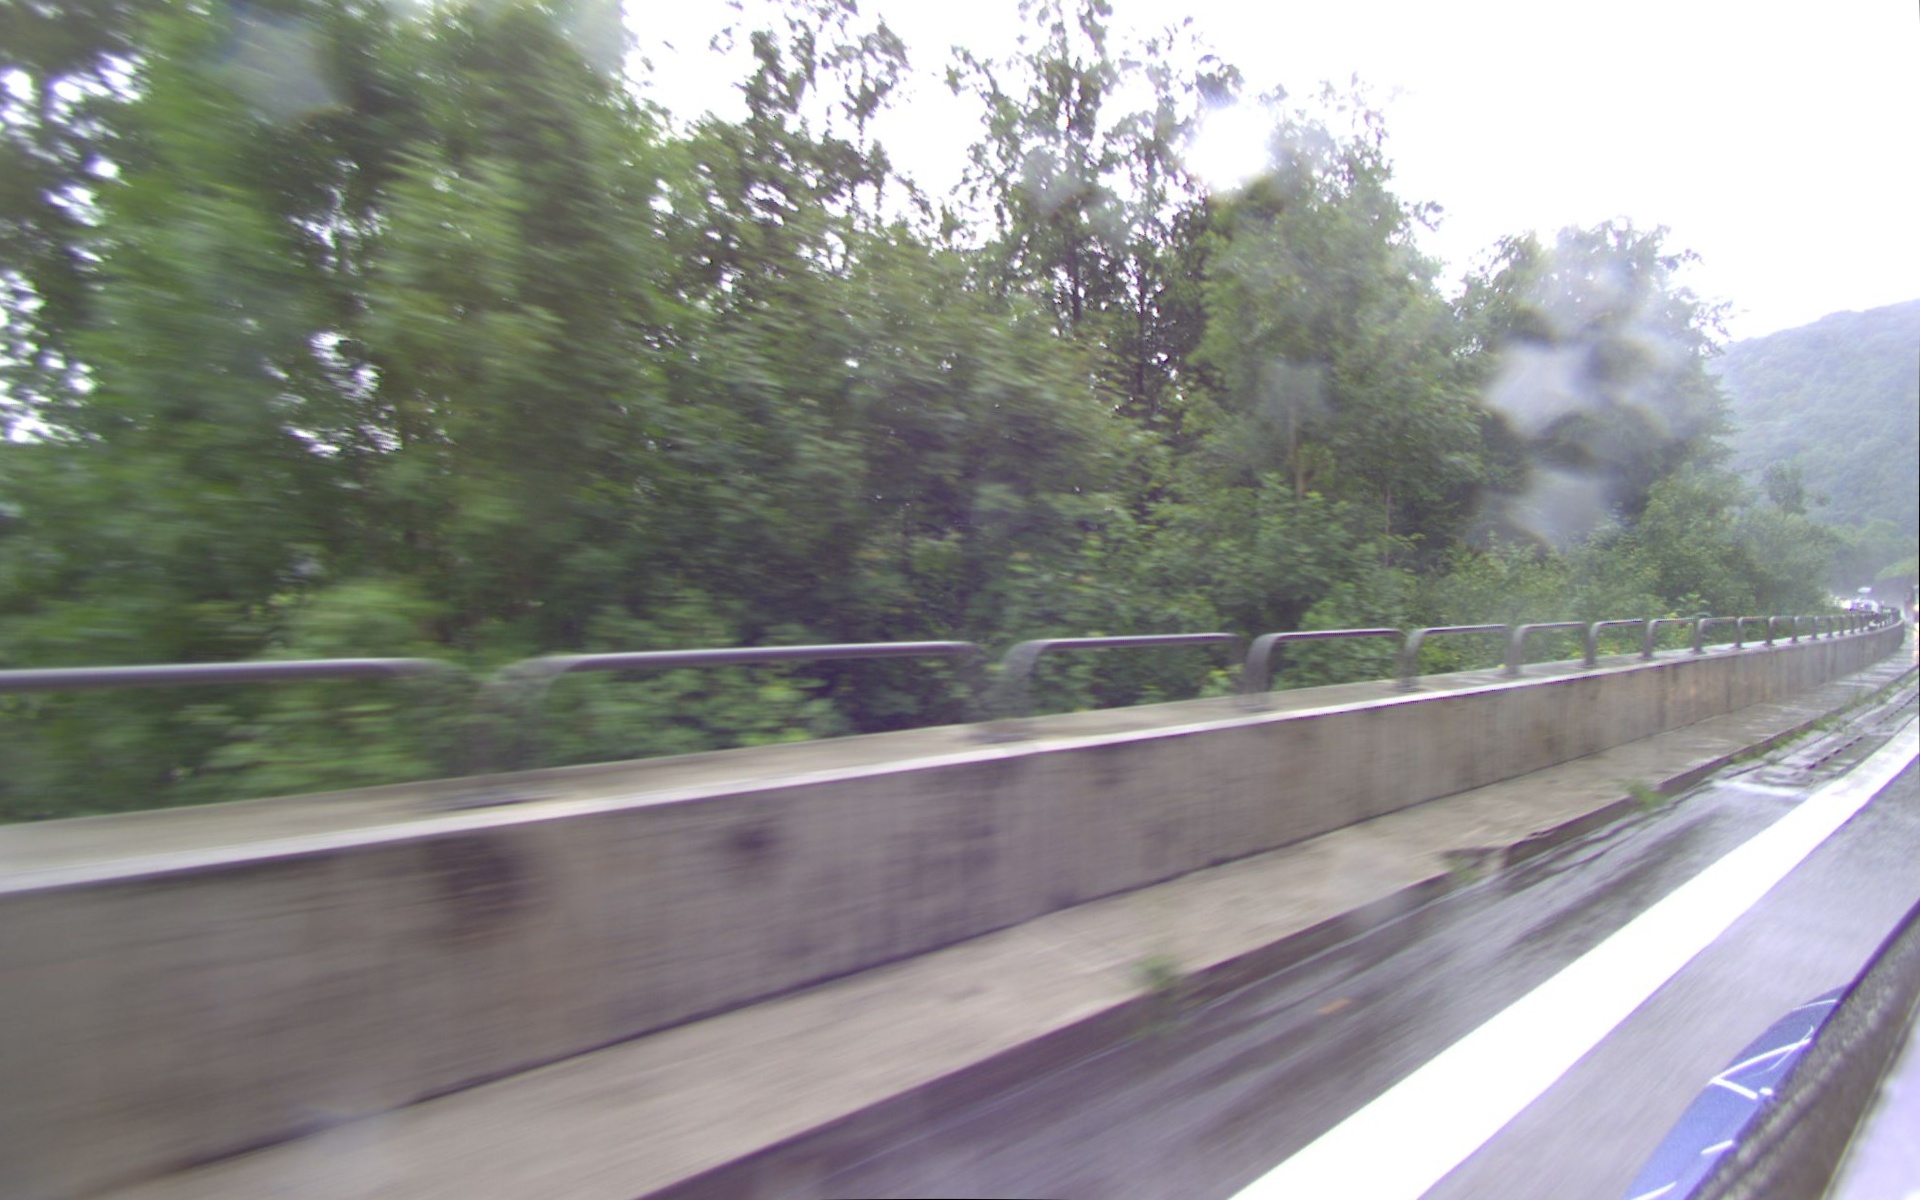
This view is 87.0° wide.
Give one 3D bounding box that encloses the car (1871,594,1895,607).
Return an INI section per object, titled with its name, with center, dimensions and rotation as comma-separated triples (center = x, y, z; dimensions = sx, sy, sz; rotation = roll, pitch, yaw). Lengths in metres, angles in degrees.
[car]
center = 113.504, 0.038, 124.520
dimensions = 1.734, 1.419, 3.946
rotation = 4, 3, 37
